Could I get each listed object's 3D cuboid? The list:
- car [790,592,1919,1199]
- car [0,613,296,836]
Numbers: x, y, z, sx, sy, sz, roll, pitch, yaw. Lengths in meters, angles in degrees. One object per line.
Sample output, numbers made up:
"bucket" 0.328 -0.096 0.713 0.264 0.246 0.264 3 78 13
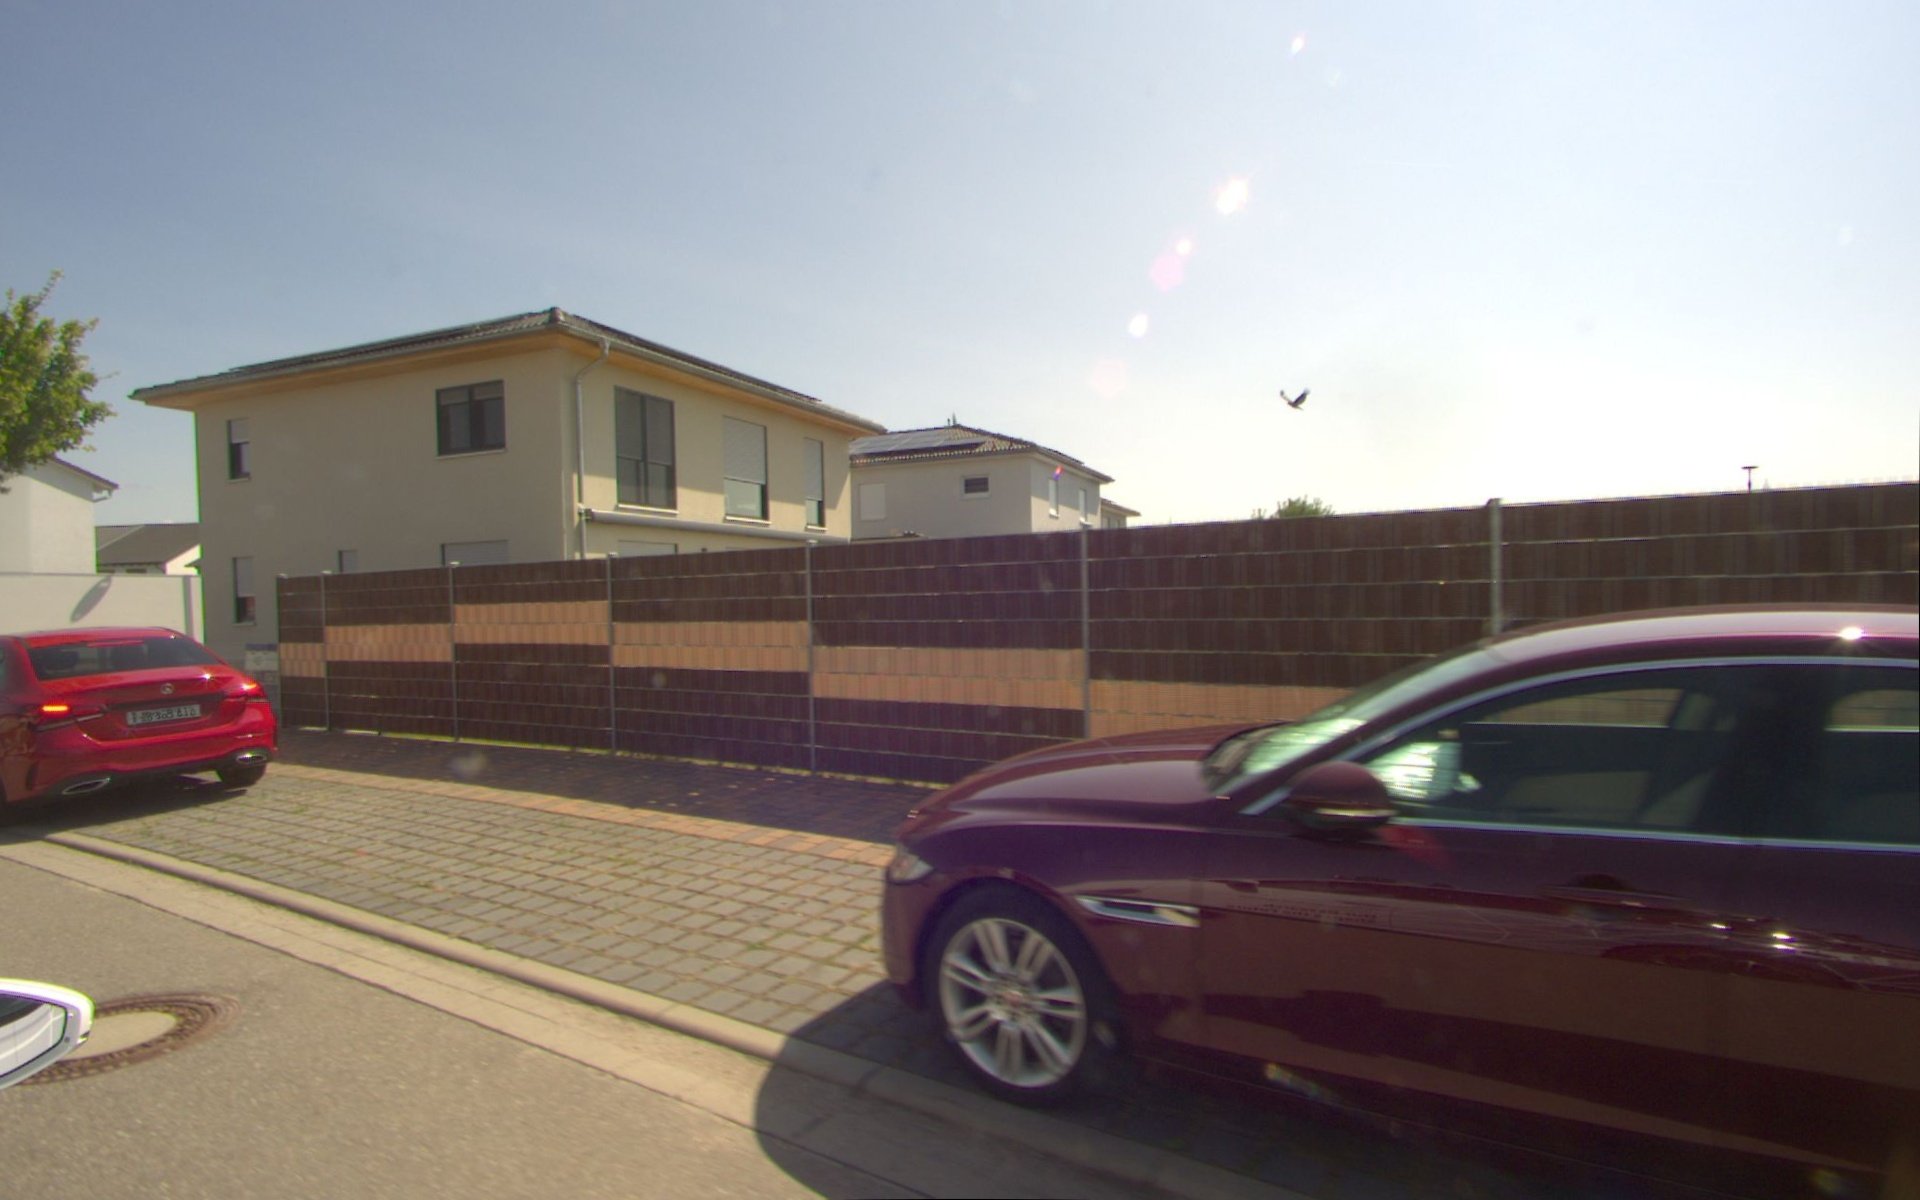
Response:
"car" 1.787 0.693 2.813 4.513 1.381 1.749 -1 1 34
"car" -7.893 0.902 8.811 4.456 1.457 1.758 -1 1 33
